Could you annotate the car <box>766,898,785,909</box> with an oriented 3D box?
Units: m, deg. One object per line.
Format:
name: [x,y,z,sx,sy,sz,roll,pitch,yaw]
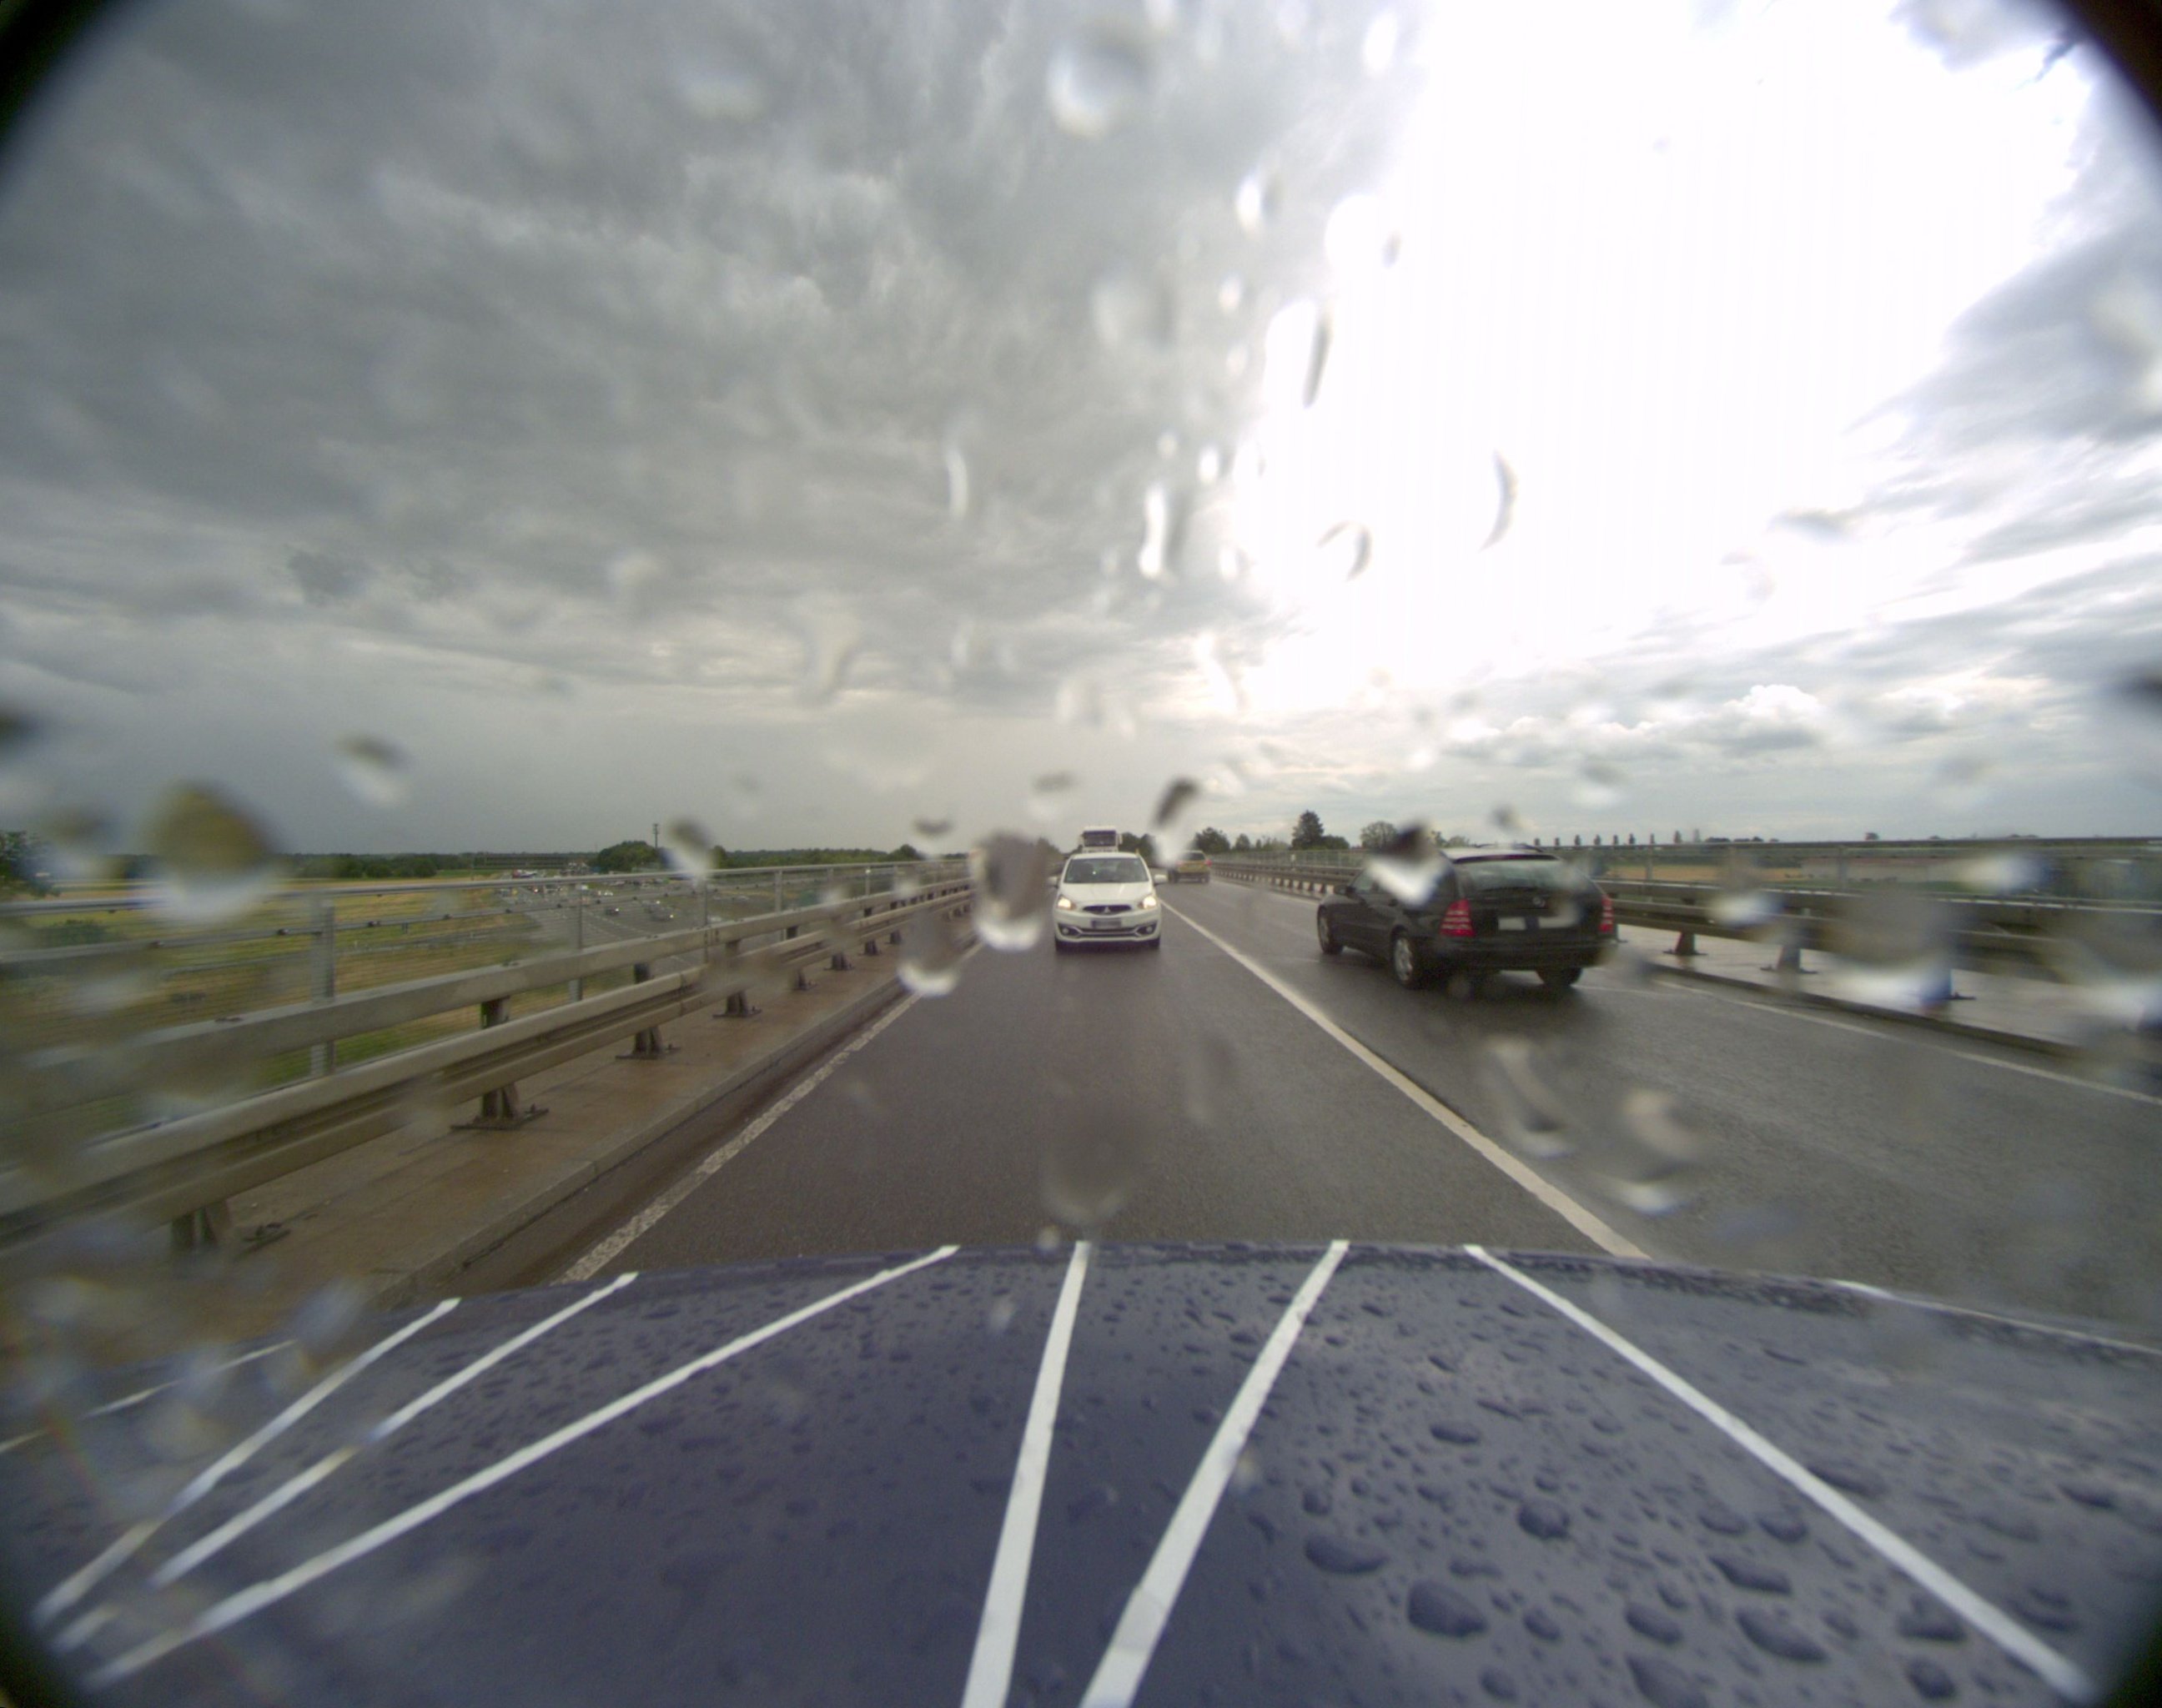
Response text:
car: [-55.177,8.869,137.171,1.860,1.659,4.712,-3,1,-39]

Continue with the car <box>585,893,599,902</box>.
car: [-101.363,9.026,157.548,1.860,1.659,4.712,-3,1,-39]

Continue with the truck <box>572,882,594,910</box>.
truck: [-95.800,7.953,146.081,2.799,4.871,12.724,-3,1,-36]

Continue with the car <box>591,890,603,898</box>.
car: [-113.135,9.304,177.643,1.860,1.659,4.712,-3,1,-39]

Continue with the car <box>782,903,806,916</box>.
car: [-45.346,8.759,120.057,1.860,1.659,4.711,-3,1,-41]

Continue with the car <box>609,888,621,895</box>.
car: [-115.276,9.277,188.056,1.860,1.659,4.712,-3,1,-39]

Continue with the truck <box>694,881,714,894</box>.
truck: [-91.188,7.977,183.615,2.216,2.948,9.284,-3,1,-39]

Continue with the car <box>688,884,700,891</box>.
car: [-101.723,8.695,199.546,1.860,1.659,4.712,-3,1,-39]

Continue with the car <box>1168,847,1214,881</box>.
car: [5.391,0.454,37.578,1.718,1.508,3.859,-2,2,1]

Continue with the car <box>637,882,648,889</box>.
car: [-122.517,8.728,212.177,1.860,1.659,4.712,-3,1,-39]

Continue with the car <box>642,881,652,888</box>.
car: [-127.409,8.880,223.028,1.860,1.764,4.712,-3,1,-39]

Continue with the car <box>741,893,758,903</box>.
car: [-66.240,8.758,151.708,1.860,1.659,4.712,-3,1,-39]

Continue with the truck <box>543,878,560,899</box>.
truck: [-126.486,8.075,181.498,2.799,4.591,12.724,-3,1,-36]

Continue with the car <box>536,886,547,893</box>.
car: [-142.918,9.413,201.252,1.860,1.659,4.712,-3,1,-39]

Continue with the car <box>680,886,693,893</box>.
car: [-98.085,8.863,188.919,1.860,1.659,4.712,-3,1,-39]

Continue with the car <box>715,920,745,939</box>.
car: [-39.522,8.482,85.438,1.860,1.659,4.712,-3,1,-39]

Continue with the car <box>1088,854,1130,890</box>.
car: [1.176,0.734,33.148,1.675,1.366,4.129,-2,0,1]

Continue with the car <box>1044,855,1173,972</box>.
car: [0.408,0.804,12.230,1.675,1.476,4.129,-2,0,1]

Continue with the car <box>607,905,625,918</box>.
car: [-75.156,9.275,122.732,1.860,1.659,4.712,-3,1,-39]

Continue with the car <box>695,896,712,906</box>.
car: [-72.591,8.988,146.198,1.860,1.659,4.712,-3,1,-39]

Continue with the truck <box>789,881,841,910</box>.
truck: [-47.496,7.285,135.281,3.611,4.511,15.589,-3,1,-39]

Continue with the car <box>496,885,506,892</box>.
car: [-146.523,8.659,191.912,1.860,1.659,4.712,-3,1,-39]

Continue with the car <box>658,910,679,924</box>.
car: [-60.479,9.258,111.333,1.860,1.659,4.712,-3,1,-39]

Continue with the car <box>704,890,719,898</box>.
car: [-80.759,8.722,165.946,1.860,1.659,4.712,-3,1,-39]

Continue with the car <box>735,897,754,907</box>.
car: [-61.366,8.778,138.591,1.860,1.659,4.712,-3,1,-39]

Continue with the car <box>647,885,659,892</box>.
car: [-109.980,8.901,195.237,1.860,1.659,4.712,-3,1,-39]

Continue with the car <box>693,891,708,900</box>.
car: [-81.899,8.865,163.391,1.860,1.659,4.712,-3,1,-39]

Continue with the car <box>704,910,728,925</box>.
car: [-50.439,8.779,104.895,1.860,1.659,4.712,-3,1,-39]

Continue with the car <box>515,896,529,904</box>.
car: [-112.318,9.165,152.618,1.818,1.427,4.712,-3,1,-41]

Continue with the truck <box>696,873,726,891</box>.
truck: [-96.989,7.230,199.036,3.611,4.511,15.589,-3,1,-39]

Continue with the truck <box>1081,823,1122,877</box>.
truck: [1.365,-0.459,55.034,2.630,3.537,8.474,-2,2,0]

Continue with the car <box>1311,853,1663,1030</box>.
car: [4.082,0.739,8.577,1.701,1.424,4.323,-2,0,1]

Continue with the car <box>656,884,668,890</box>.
car: [-114.344,9.020,207.328,1.860,1.659,4.712,-3,1,-39]

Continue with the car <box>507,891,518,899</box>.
car: [-136.272,9.740,182.130,1.860,1.659,4.712,-3,1,-39]

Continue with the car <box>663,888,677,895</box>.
car: [-97.108,8.863,179.542,1.860,1.659,4.712,-3,1,-39]

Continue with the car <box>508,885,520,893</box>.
car: [-130.973,8.121,175.407,1.860,1.659,4.712,-3,1,-39]
